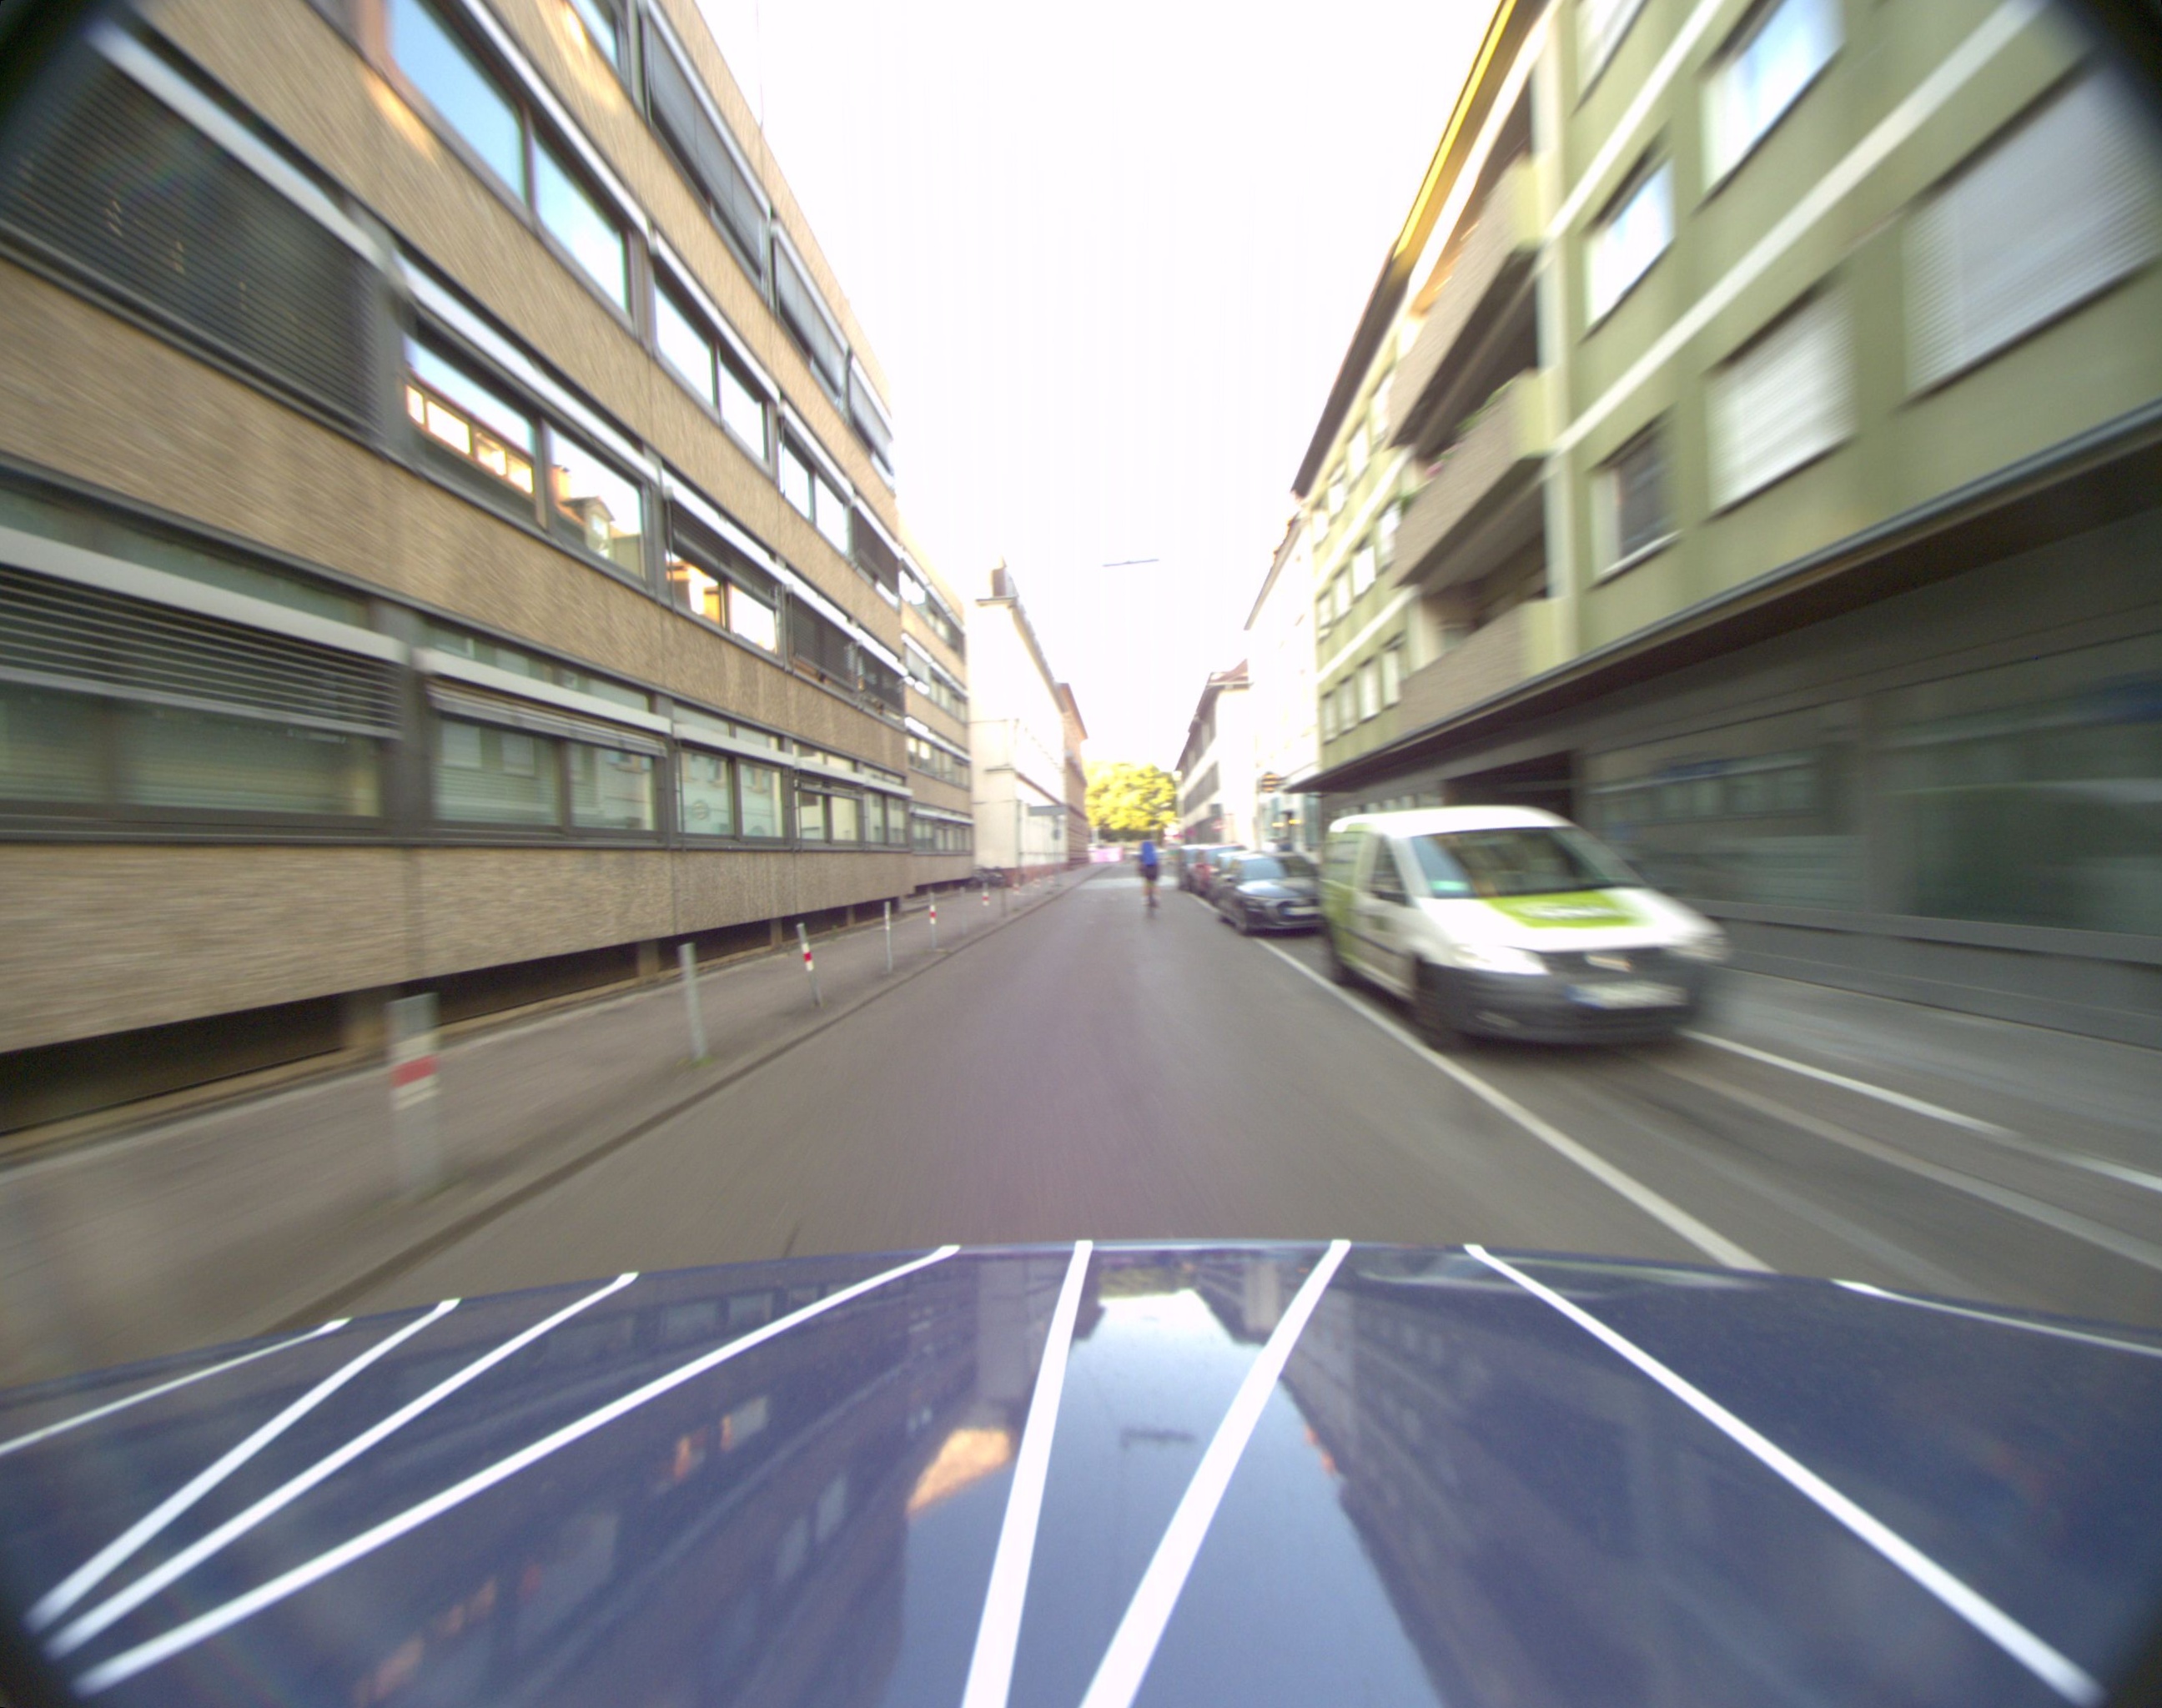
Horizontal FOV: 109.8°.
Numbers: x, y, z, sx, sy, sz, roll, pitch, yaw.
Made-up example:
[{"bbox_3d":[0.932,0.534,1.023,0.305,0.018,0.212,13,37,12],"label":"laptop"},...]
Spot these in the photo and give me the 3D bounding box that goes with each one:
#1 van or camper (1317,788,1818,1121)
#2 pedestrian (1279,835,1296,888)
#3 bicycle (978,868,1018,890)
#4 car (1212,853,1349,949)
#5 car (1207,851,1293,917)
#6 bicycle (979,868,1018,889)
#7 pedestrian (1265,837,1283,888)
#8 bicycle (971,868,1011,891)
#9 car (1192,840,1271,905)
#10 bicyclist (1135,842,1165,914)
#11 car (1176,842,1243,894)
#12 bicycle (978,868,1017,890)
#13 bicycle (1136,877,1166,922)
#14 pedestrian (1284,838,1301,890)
[{"bbox_3d":[3.374,0.570,6.373,1.776,1.837,4.179,-2,0,5],"label":"van or camper"},{"bbox_3d":[6.943,0.250,25.596,0.407,1.740,0.470,-3,1,6],"label":"pedestrian"},{"bbox_3d":[-3.873,1.148,35.541,1.800,0.917,0.538,-3,1,-3],"label":"bicycle"},{"bbox_3d":[3.550,0.758,14.228,1.628,1.408,3.981,-3,1,3],"label":"car"},{"bbox_3d":[4.300,0.694,19.865,1.627,1.476,3.878,-2,1,4],"label":"car"},{"bbox_3d":[-3.993,1.194,36.881,1.800,0.917,0.396,-3,1,0],"label":"bicycle"},{"bbox_3d":[6.703,0.290,26.424,0.450,1.740,0.470,-3,1,6],"label":"pedestrian"},{"bbox_3d":[-4.115,1.167,34.741,1.744,0.917,0.538,-3,1,-3],"label":"bicycle"},{"bbox_3d":[4.753,0.535,24.596,1.776,1.800,4.511,-3,0,3],"label":"car"},{"bbox_3d":[1.637,0.551,18.112,0.624,1.630,1.082,-3,1,5],"label":"bicyclist"},{"bbox_3d":[4.933,0.490,29.730,1.881,1.800,4.451,-3,0,1],"label":"car"},{"bbox_3d":[-3.979,1.197,36.308,1.800,0.917,0.516,-3,1,-3],"label":"bicycle"},{"bbox_3d":[1.660,1.062,18.169,0.635,0.916,1.780,-3,1,5],"label":"bicycle"},{"bbox_3d":[7.279,0.342,26.191,0.407,1.740,0.470,-3,1,6],"label":"pedestrian"}]
